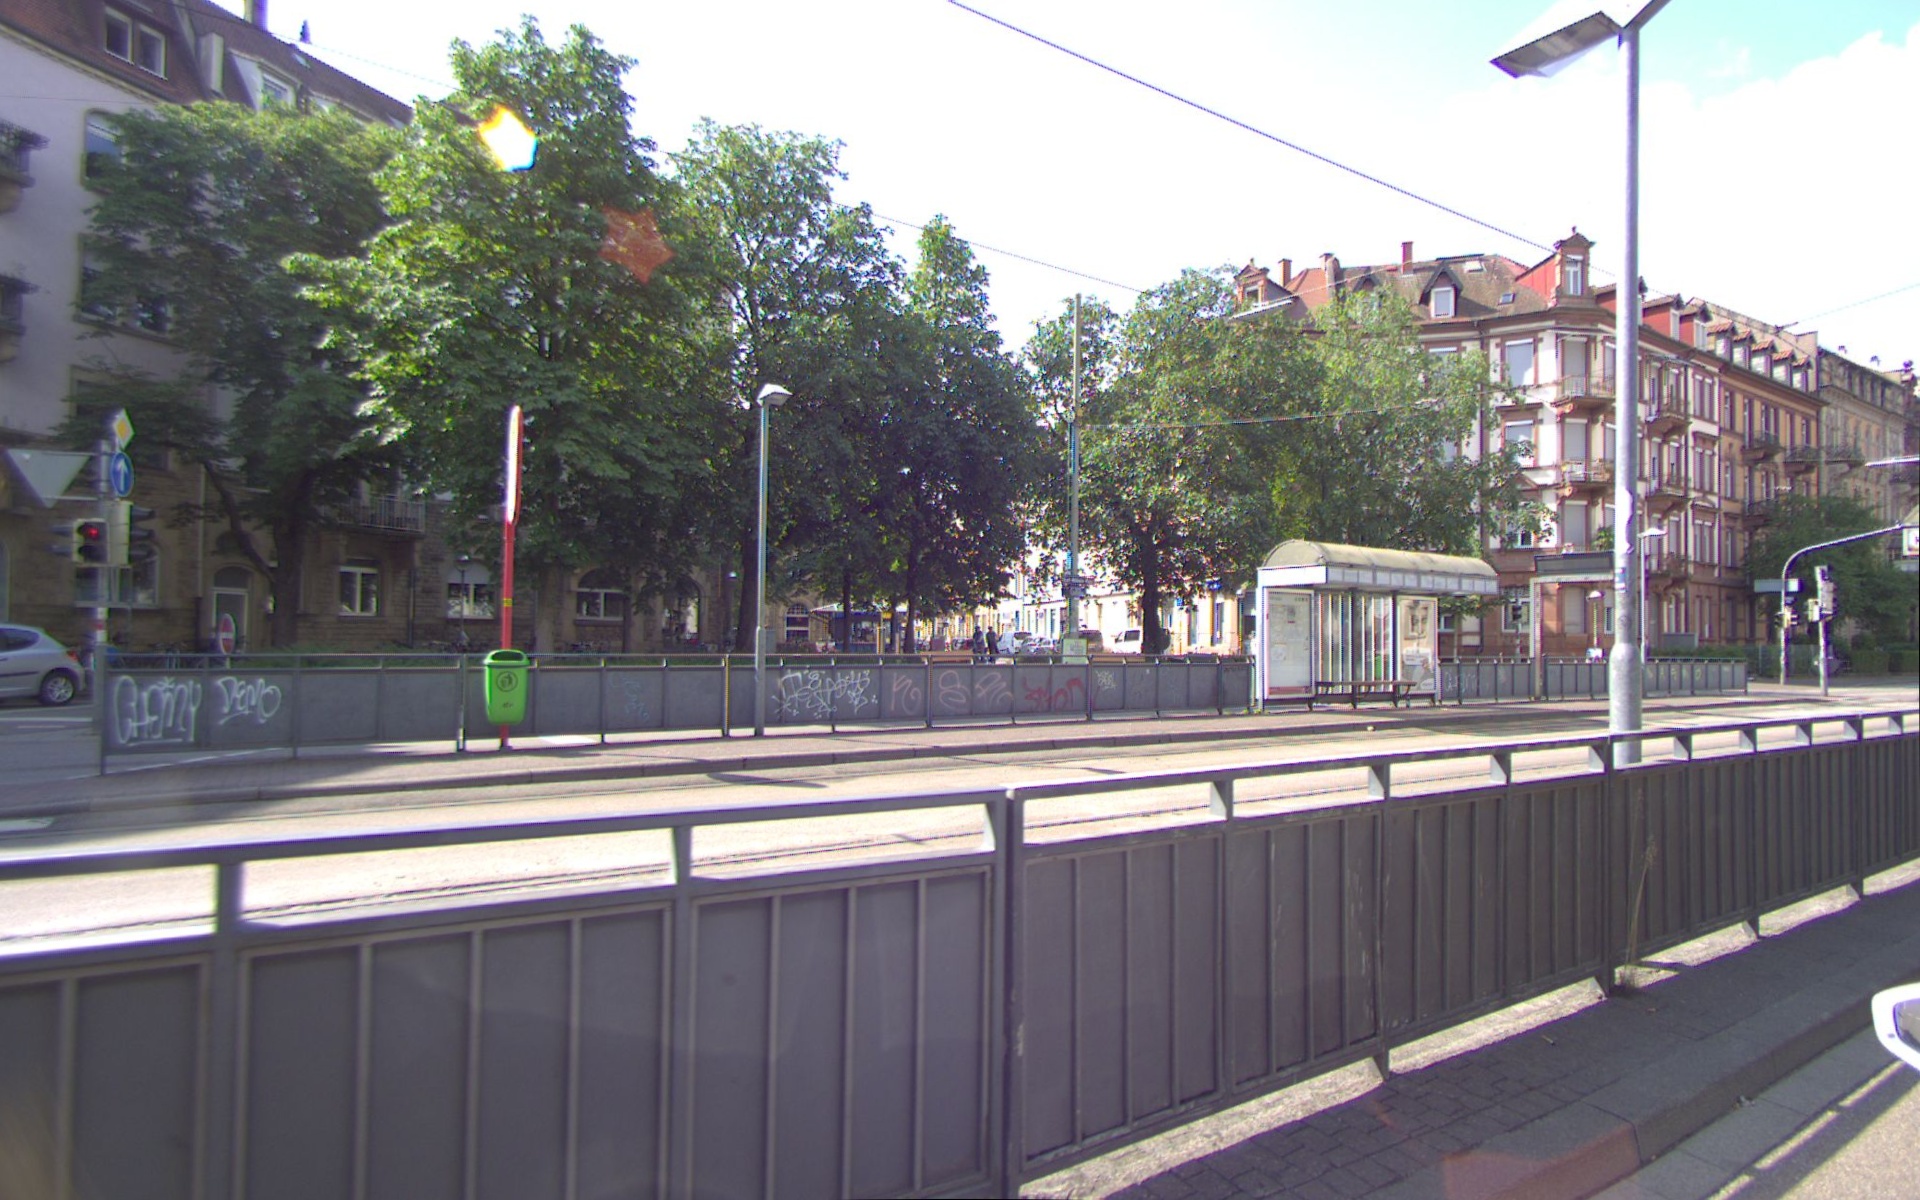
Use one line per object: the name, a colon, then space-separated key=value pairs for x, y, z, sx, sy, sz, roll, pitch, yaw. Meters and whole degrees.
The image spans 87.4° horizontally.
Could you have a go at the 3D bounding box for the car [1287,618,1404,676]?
car: x=12.818 y=1.564 z=33.332 sx=3.957 sy=1.800 sz=1.670 roll=2 pitch=-2 yaw=-33

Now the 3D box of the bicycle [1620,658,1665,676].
bicycle: x=30.078 y=2.930 z=44.257 sx=1.677 sy=0.757 sz=0.386 roll=1 pitch=-2 yaw=3

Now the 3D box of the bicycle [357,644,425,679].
bicycle: x=-16.193 y=1.741 z=28.572 sx=1.992 sy=0.910 sz=0.546 roll=1 pitch=-2 yaw=23

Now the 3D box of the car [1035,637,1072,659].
car: x=6.167 y=3.153 z=66.593 sx=1.468 sy=1.411 sz=3.687 roll=1 pitch=-2 yaw=-12

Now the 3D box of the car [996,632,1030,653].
car: x=4.019 y=3.226 z=76.658 sx=1.687 sy=1.575 sz=3.913 roll=1 pitch=-2 yaw=-11

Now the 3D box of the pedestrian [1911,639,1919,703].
pedestrian: x=25.578 y=1.866 z=26.363 sx=0.661 sy=1.696 sz=0.766 roll=2 pitch=-2 yaw=-34

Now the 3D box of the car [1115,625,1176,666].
car: x=9.459 y=2.289 z=51.465 sx=1.823 sy=2.015 sz=3.942 roll=1 pitch=-2 yaw=-9

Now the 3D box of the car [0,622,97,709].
car: x=-16.792 y=1.072 z=16.385 sx=1.686 sy=1.438 sz=3.877 roll=0 pitch=-2 yaw=10

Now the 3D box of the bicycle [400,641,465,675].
bicycle: x=-15.584 y=1.709 z=29.680 sx=1.992 sy=0.910 sz=0.572 roll=1 pitch=-2 yaw=24

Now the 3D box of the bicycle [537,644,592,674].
bicycle: x=-13.204 y=1.947 z=33.535 sx=1.995 sy=0.910 sz=0.571 roll=1 pitch=-2 yaw=30

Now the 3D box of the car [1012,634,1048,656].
car: x=4.976 y=3.174 z=71.929 sx=1.602 sy=1.513 sz=3.639 roll=1 pitch=-2 yaw=-12

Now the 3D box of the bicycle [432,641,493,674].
bicycle: x=-15.134 y=1.743 z=30.548 sx=1.993 sy=0.910 sz=0.571 roll=1 pitch=-2 yaw=27

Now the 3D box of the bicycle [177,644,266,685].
bicycle: x=-17.803 y=1.553 z=24.224 sx=1.990 sy=0.894 sz=0.547 roll=2 pitch=-2 yaw=13

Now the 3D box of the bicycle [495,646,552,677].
bicycle: x=-14.102 y=1.970 z=32.437 sx=1.995 sy=0.910 sz=0.571 roll=1 pitch=-2 yaw=30

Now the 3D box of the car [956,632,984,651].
car: x=0.892 y=3.826 z=92.651 sx=1.863 sy=1.694 sz=3.782 roll=1 pitch=-2 yaw=-11

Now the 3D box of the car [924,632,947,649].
car: x=-2.764 y=4.518 z=112.220 sx=1.965 sy=1.884 sz=3.993 roll=1 pitch=-2 yaw=-11

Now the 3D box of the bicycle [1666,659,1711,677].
bicycle: x=32.039 y=3.005 z=44.173 sx=1.677 sy=0.757 sz=0.386 roll=1 pitch=-2 yaw=3

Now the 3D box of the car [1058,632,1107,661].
car: x=7.423 y=2.843 z=61.207 sx=1.882 sy=1.685 sz=3.934 roll=1 pitch=-2 yaw=-10

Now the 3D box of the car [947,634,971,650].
car: x=-0.091 y=4.059 z=98.019 sx=1.684 sy=1.524 sz=3.679 roll=1 pitch=-2 yaw=-11

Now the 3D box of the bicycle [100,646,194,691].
bicycle: x=-18.264 y=1.529 z=22.568 sx=1.990 sy=0.894 sz=0.512 roll=2 pitch=-2 yaw=13

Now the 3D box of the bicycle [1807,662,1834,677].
bicycle: x=40.115 y=3.242 z=46.833 sx=1.690 sy=0.662 sz=0.383 roll=2 pitch=-2 yaw=-29

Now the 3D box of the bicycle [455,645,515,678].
bicycle: x=-14.785 y=1.900 z=31.267 sx=1.993 sy=0.910 sz=0.571 roll=1 pitch=-2 yaw=27

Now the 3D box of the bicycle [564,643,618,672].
bicycle: x=-12.558 y=1.944 z=34.170 sx=1.995 sy=0.910 sz=0.571 roll=1 pitch=-2 yaw=30

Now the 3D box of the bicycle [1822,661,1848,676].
bicycle: x=41.902 y=3.270 z=48.093 sx=1.690 sy=0.686 sz=0.383 roll=2 pitch=-2 yaw=-29

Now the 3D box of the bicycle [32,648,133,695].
bicycle: x=-18.556 y=1.502 z=21.246 sx=1.990 sy=0.894 sz=0.512 roll=2 pitch=-2 yaw=13
